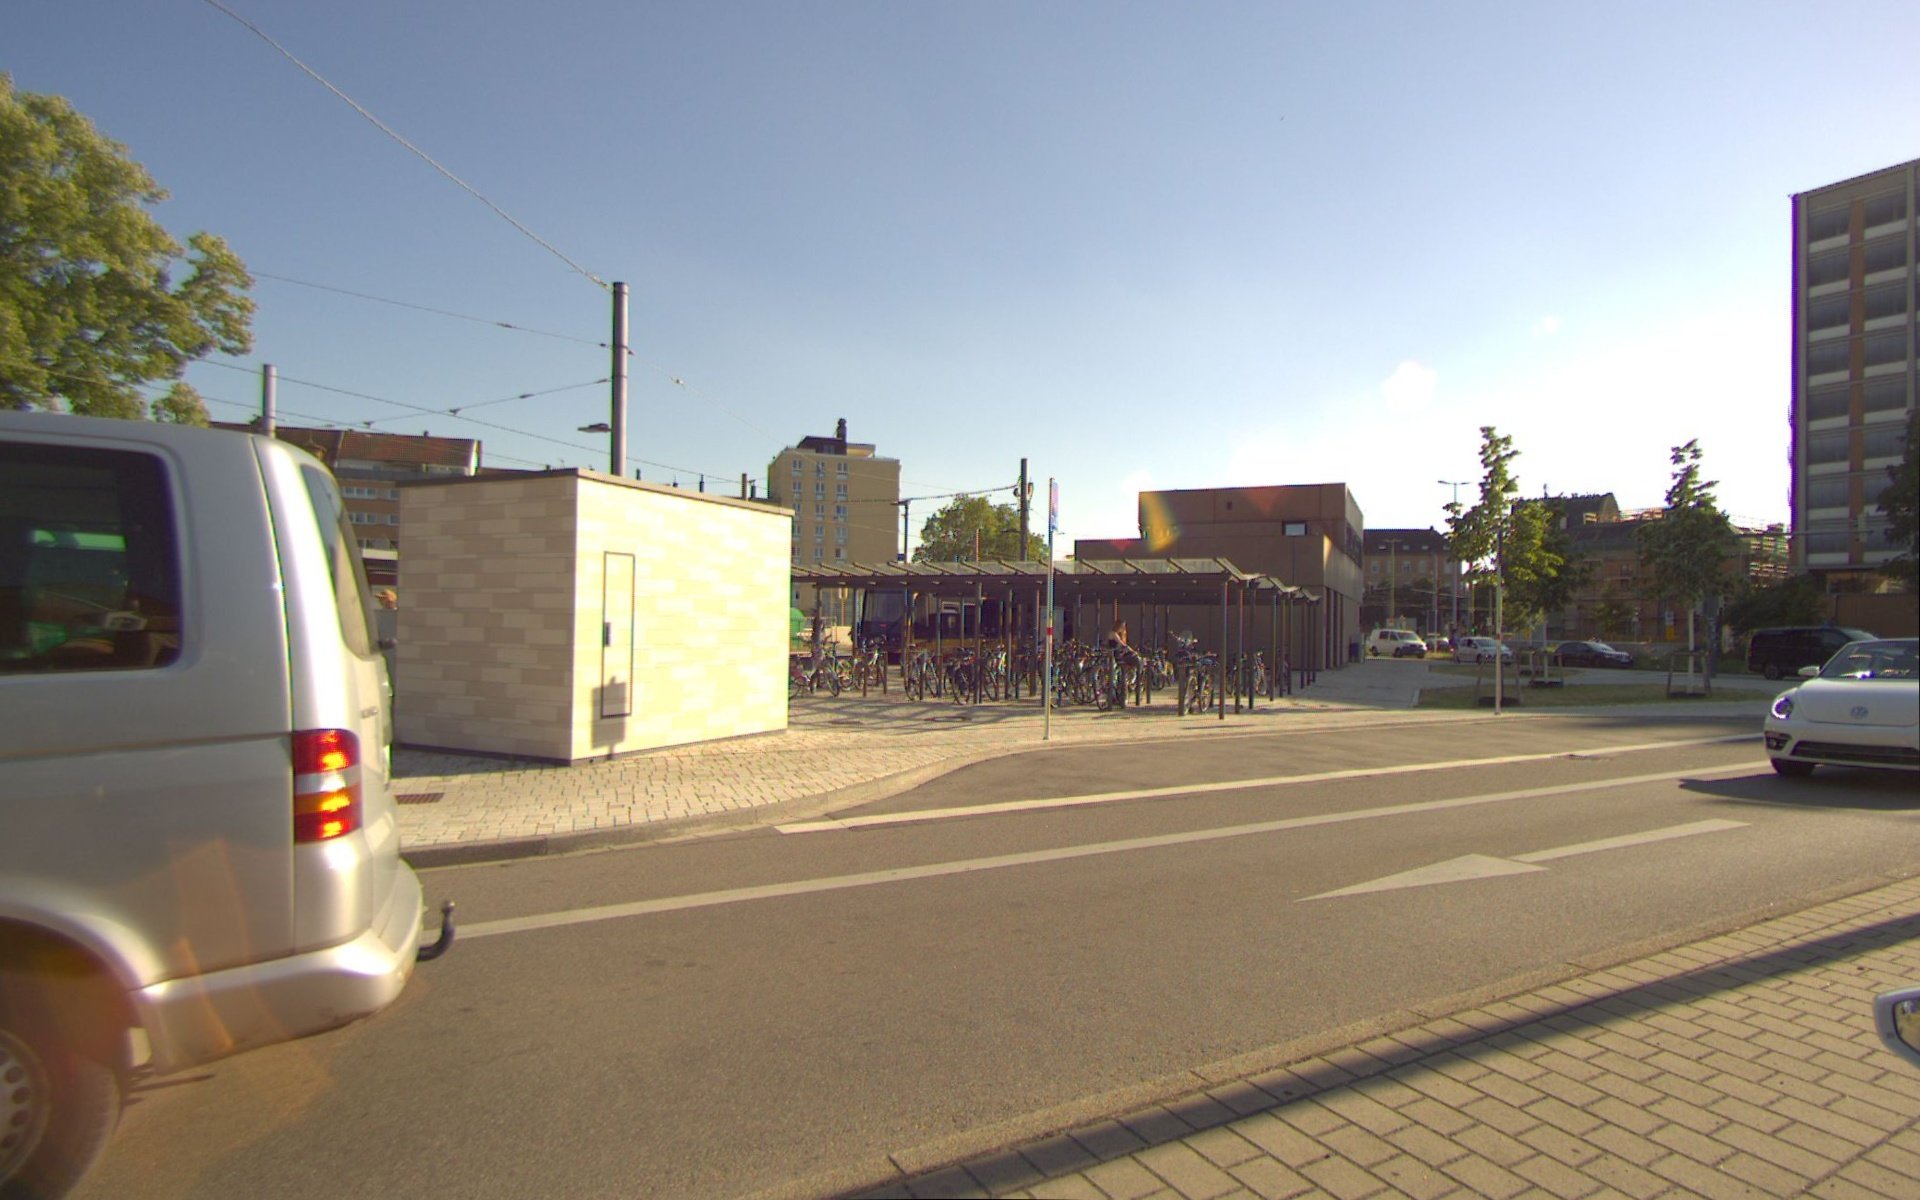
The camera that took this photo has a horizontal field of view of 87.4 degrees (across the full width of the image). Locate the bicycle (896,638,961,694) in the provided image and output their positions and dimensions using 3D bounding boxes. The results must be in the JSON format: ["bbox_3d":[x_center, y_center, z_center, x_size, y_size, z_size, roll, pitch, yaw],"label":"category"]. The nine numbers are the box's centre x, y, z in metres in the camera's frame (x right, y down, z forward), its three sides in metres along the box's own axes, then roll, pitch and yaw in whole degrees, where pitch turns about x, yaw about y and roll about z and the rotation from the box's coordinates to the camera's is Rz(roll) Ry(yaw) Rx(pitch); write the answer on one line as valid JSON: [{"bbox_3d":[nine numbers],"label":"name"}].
[{"bbox_3d":[-0.660,1.413,21.974,0.597,1.129,1.895,2,0,24],"label":"bicycle"}]

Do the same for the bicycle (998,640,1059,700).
[{"bbox_3d":[1.449,1.420,20.825,0.597,1.129,1.895,2,0,24],"label":"bicycle"}]

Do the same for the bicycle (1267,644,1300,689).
[{"bbox_3d":[8.885,1.814,27.552,0.597,1.129,1.895,2,0,24],"label":"bicycle"}]

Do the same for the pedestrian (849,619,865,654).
[{"bbox_3d":[-5.176,1.826,50.480,0.561,1.772,0.640,0,-1,18],"label":"pedestrian"}]

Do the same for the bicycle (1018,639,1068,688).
[{"bbox_3d":[2.067,1.547,24.839,0.597,1.129,1.895,2,0,24],"label":"bicycle"}]

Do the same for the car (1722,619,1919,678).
[{"bbox_3d":[30.188,1.702,35.422,2.206,1.919,5.161,1,-2,-10],"label":"car"}]

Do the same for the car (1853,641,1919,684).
[{"bbox_3d":[37.116,2.421,38.797,1.578,1.581,3.629,1,-1,-24],"label":"car"}]

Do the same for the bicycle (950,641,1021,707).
[{"bbox_3d":[0.505,1.359,18.964,0.597,1.129,1.895,2,0,24],"label":"bicycle"}]

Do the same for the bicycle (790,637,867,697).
[{"bbox_3d":[-2.660,1.332,20.505,0.597,1.129,1.895,2,0,24],"label":"bicycle"}]

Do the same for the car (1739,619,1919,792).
[{"bbox_3d":[10.064,1.008,10.449,3.954,1.550,1.790,2,-3,-31],"label":"car"}]

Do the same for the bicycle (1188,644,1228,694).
[{"bbox_3d":[6.185,1.686,24.964,0.597,1.129,1.895,2,0,24],"label":"bicycle"}]

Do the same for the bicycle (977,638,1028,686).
[{"bbox_3d":[1.094,1.548,25.491,0.597,1.129,1.895,2,0,24],"label":"bicycle"}]

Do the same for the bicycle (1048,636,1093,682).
[{"bbox_3d":[2.953,1.555,26.686,0.597,1.129,1.895,2,0,24],"label":"bicycle"}]

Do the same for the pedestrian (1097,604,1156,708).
[{"bbox_3d":[3.181,1.054,19.146,0.886,1.893,0.686,2,0,25],"label":"pedestrian"}]

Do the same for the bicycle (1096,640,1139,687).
[{"bbox_3d":[4.114,1.625,26.160,0.597,1.129,1.895,2,0,24],"label":"bicycle"}]

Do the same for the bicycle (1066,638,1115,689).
[{"bbox_3d":[3.172,1.517,24.297,0.597,1.129,1.895,2,0,24],"label":"bicycle"}]

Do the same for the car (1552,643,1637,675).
[{"bbox_3d":[33.796,3.116,53.615,1.627,1.581,3.579,1,-1,-24],"label":"car"}]

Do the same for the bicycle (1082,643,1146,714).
[{"bbox_3d":[2.755,1.365,17.843,0.597,1.129,1.895,2,0,24],"label":"bicycle"}]

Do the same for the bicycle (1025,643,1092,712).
[{"bbox_3d":[1.830,1.388,18.376,0.597,1.129,1.895,2,0,24],"label":"bicycle"}]

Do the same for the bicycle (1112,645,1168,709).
[{"bbox_3d":[3.549,1.475,19.657,0.597,1.129,1.895,2,0,24],"label":"bicycle"}]

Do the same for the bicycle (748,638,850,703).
[{"bbox_3d":[-2.972,1.293,18.729,0.600,1.129,1.886,2,0,42],"label":"bicycle"}]

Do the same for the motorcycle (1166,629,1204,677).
[{"bbox_3d":[6.975,1.619,31.026,0.754,1.408,1.896,2,0,23],"label":"motorcycle"}]

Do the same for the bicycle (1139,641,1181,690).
[{"bbox_3d":[5.121,1.642,25.589,0.597,1.129,1.895,2,0,24],"label":"bicycle"}]

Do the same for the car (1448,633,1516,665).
[{"bbox_3d":[27.301,2.540,52.693,1.613,1.581,3.600,1,-1,-2],"label":"car"}]

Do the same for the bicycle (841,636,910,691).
[{"bbox_3d":[-1.855,1.384,22.304,0.597,1.129,1.895,2,0,26],"label":"bicycle"}]

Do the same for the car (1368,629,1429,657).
[{"bbox_3d":[31.061,3.002,71.297,1.763,1.882,4.461,1,-1,-10],"label":"car"}]

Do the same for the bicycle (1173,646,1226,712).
[{"bbox_3d":[4.631,1.487,19.313,0.597,1.129,1.895,2,0,24],"label":"bicycle"}]

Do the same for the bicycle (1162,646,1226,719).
[{"bbox_3d":[4.039,1.382,17.236,0.597,1.129,1.894,2,0,27],"label":"bicycle"}]

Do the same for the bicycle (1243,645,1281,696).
[{"bbox_3d":[7.337,1.677,24.340,0.597,1.129,1.895,2,0,24],"label":"bicycle"}]

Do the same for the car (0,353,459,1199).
[{"bbox_3d":[-3.816,0.441,2.349,4.649,1.970,1.901,1,-3,-29],"label":"car"}]

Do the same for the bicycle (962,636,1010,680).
[{"bbox_3d":[0.733,1.586,27.696,0.597,1.129,1.895,2,0,24],"label":"bicycle"}]

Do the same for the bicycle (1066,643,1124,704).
[{"bbox_3d":[2.743,1.457,20.284,0.597,1.129,1.895,2,0,24],"label":"bicycle"}]

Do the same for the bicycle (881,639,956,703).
[{"bbox_3d":[-0.768,1.330,19.275,0.597,1.129,1.895,2,0,24],"label":"bicycle"}]

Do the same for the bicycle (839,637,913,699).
[{"bbox_3d":[-1.660,1.339,20.152,0.597,1.129,1.895,2,0,24],"label":"bicycle"}]

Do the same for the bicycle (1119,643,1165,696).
[{"bbox_3d":[4.317,1.612,23.730,0.597,1.129,1.895,2,0,24],"label":"bicycle"}]

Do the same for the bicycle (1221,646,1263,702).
[{"bbox_3d":[6.359,1.642,22.615,0.597,1.129,1.895,2,0,24],"label":"bicycle"}]

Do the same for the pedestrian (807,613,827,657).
[{"bbox_3d":[-5.844,1.441,41.072,0.627,1.772,0.572,0,-1,10],"label":"pedestrian"}]

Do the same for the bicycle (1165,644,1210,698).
[{"bbox_3d":[5.275,1.617,23.194,0.597,1.129,1.895,2,0,24],"label":"bicycle"}]

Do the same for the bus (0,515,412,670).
[{"bbox_3d":[-18.973,-0.088,24.878,2.613,3.177,9.633,2,-1,27],"label":"bus"}]

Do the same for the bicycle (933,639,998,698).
[{"bbox_3d":[0.144,1.413,21.088,0.597,1.129,1.895,2,0,24],"label":"bicycle"}]

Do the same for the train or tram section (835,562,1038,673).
[{"bbox_3d":[-0.421,0.732,39.688,2.836,3.644,12.191,2,-1,25],"label":"train or tram section"}]

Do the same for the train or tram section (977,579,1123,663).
[{"bbox_3d":[4.876,1.073,50.676,2.966,3.644,12.186,2,-1,27],"label":"train or tram section"}]
